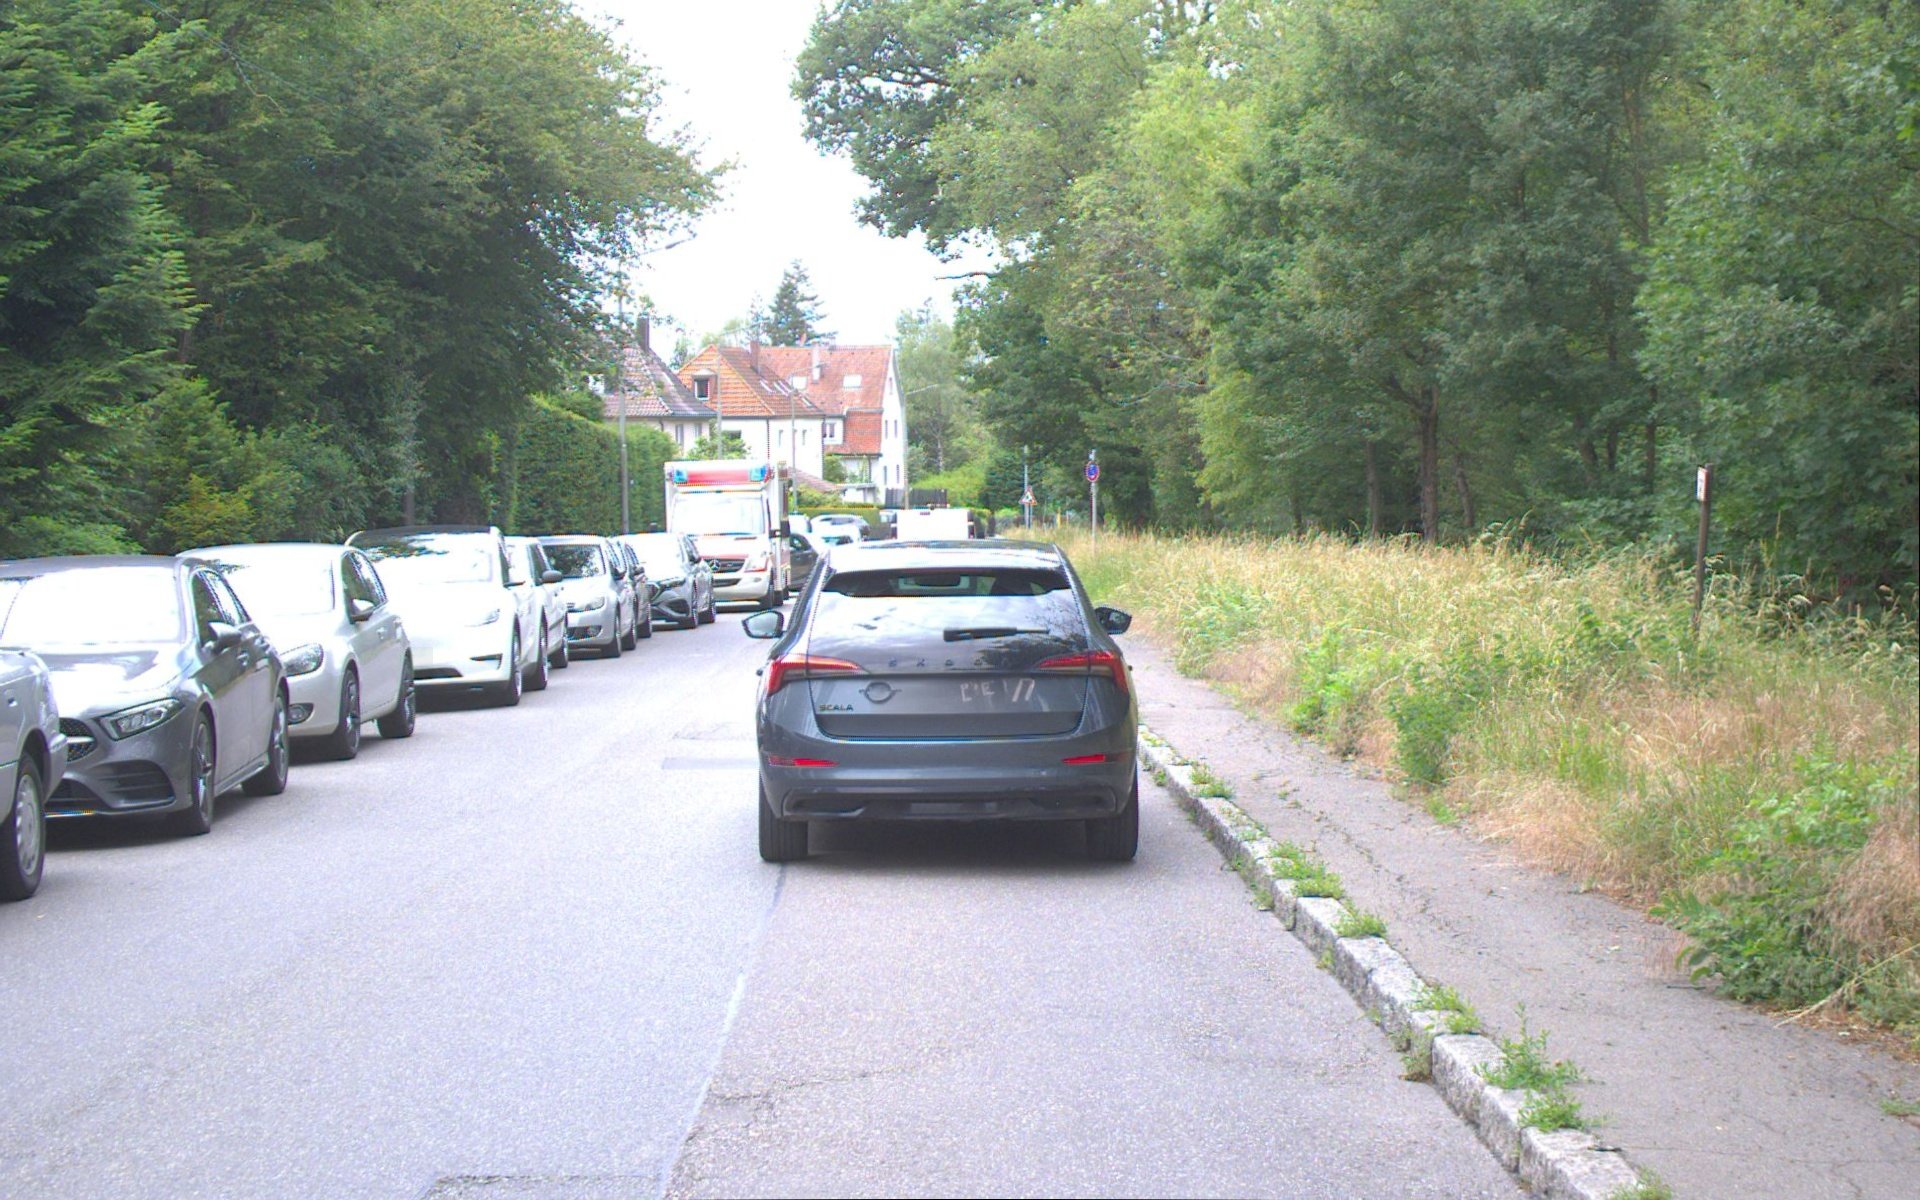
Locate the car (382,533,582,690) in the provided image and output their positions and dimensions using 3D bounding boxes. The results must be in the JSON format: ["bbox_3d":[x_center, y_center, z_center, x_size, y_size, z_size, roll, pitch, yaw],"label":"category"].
[{"bbox_3d":[-5.080,0.082,36.923,1.720,1.499,3.817,-3,2,-3],"label":"car"}]

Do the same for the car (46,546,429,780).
[{"bbox_3d":[-4.985,0.377,24.281,1.834,1.434,4.117,-2,1,-1],"label":"car"}]

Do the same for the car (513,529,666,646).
[{"bbox_3d":[-5.173,-0.210,48.420,1.720,1.499,4.061,-2,1,-1],"label":"car"}]

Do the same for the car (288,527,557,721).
[{"bbox_3d":[-4.847,0.154,31.596,1.916,1.556,4.605,-3,2,-3],"label":"car"}]

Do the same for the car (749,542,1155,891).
[{"bbox_3d":[-0.157,0.464,16.836,1.727,1.434,4.324,0,2,-3],"label":"car"}]

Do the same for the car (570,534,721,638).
[{"bbox_3d":[-4.959,-0.255,54.748,1.798,1.499,4.863,-2,1,1],"label":"car"}]

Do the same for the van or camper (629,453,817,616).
[{"bbox_3d":[-4.410,-1.275,65.375,2.456,2.885,7.167,-1,1,5],"label":"van or camper"}]

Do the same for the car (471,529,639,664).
[{"bbox_3d":[-4.909,-0.081,42.111,1.720,1.499,4.008,-3,1,-3],"label":"car"}]

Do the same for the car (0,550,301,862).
[{"bbox_3d":[-4.717,0.485,18.476,1.734,1.434,4.263,-1,1,-3],"label":"car"}]

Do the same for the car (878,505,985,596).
[{"bbox_3d":[-0.667,-1.113,75.583,2.071,1.915,4.923,0,2,-4],"label":"car"}]

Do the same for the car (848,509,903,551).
[{"bbox_3d":[-2.973,-2.486,121.151,1.863,1.409,4.593,1,1,-1],"label":"car"}]

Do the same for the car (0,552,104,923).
[{"bbox_3d":[-4.665,0.580,12.849,1.848,1.434,4.911,-1,1,-2],"label":"car"}]

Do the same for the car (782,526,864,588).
[{"bbox_3d":[-3.351,-1.086,84.754,1.763,1.441,4.474,-1,1,1],"label":"car"}]
